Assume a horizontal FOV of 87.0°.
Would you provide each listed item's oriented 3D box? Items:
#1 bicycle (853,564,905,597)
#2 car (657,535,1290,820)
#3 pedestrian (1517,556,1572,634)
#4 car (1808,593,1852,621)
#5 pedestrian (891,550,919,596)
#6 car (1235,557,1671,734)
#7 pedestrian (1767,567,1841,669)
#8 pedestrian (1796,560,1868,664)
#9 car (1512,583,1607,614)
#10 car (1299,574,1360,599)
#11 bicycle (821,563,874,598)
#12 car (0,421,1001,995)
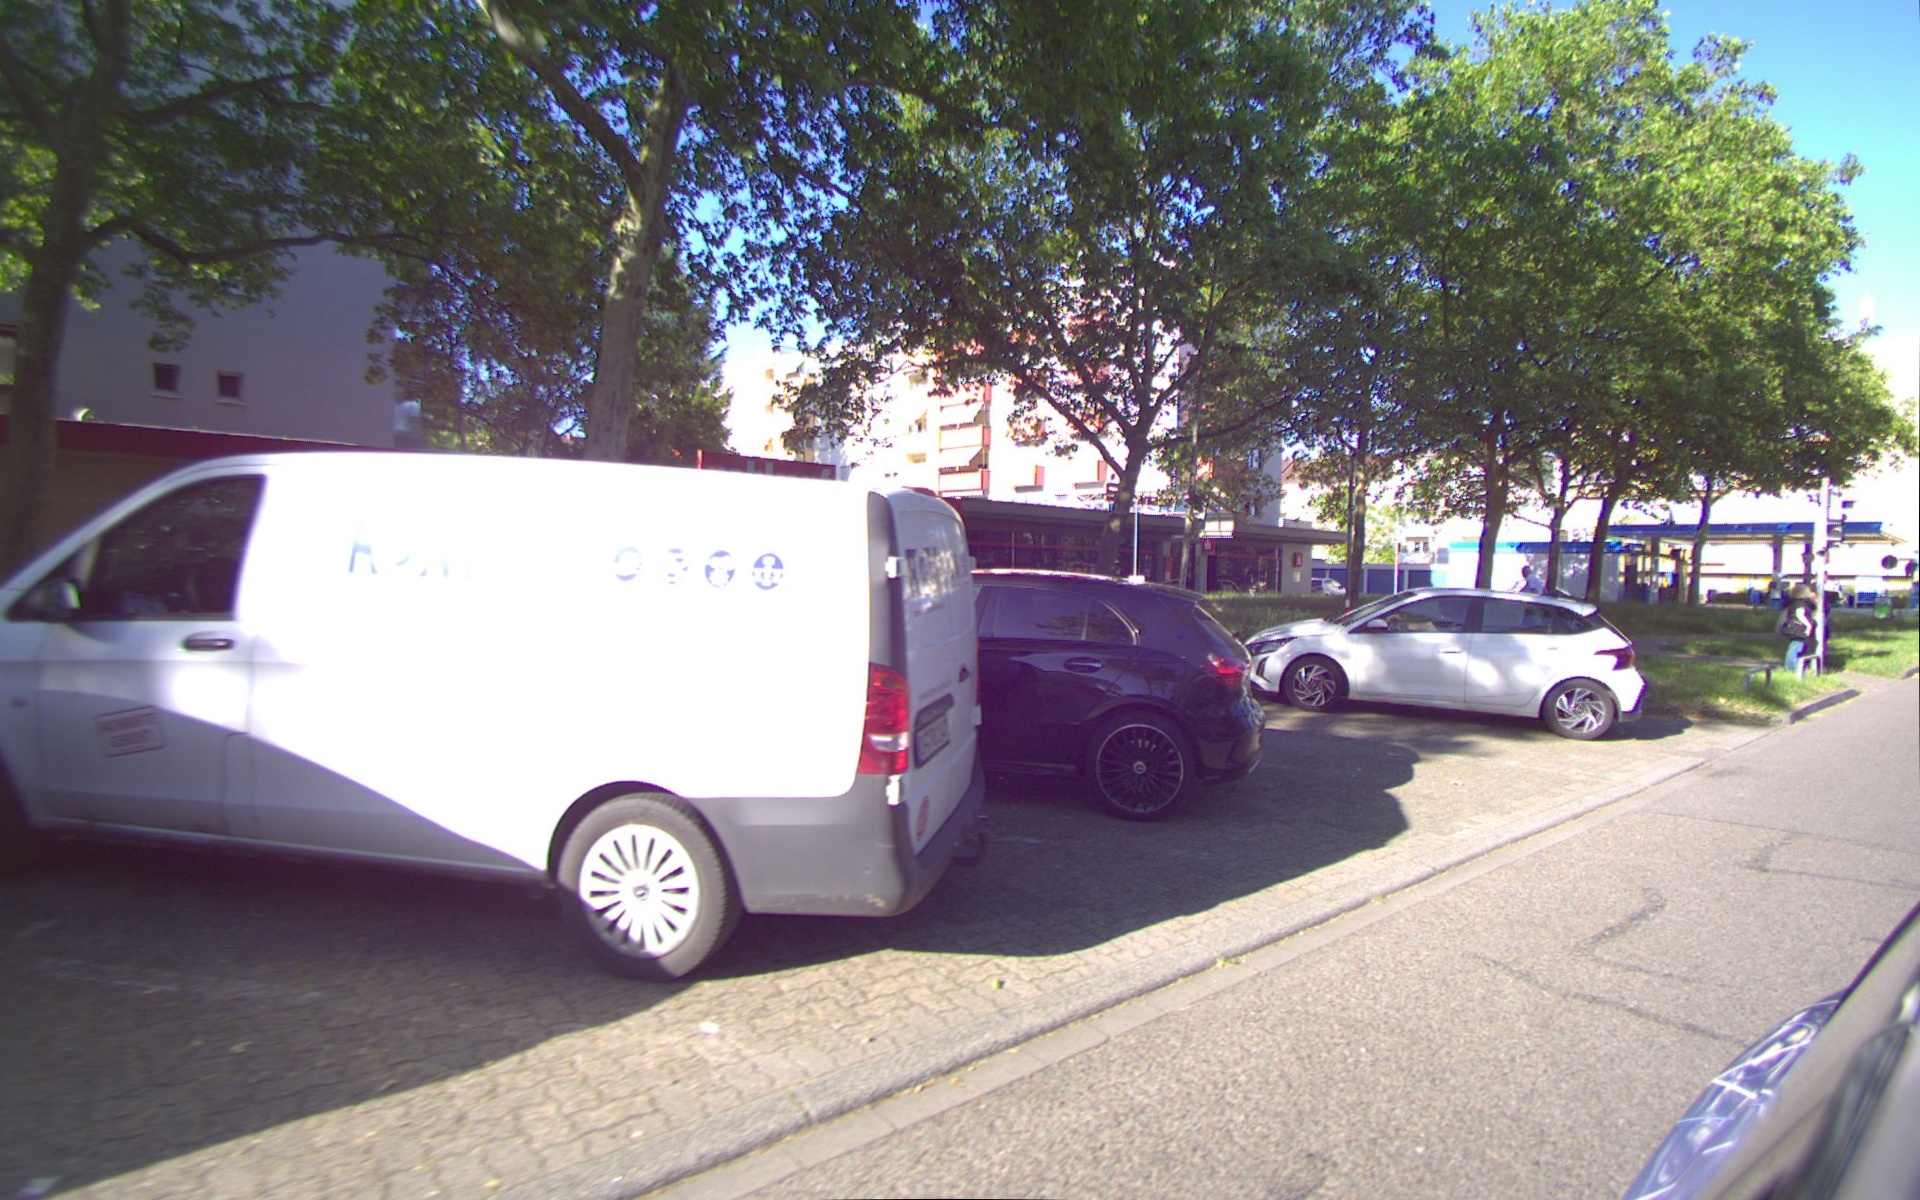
[{"bbox_3d":[-2.960,-0.703,36.976,1.812,1.194,0.600,0,1,-18],"label":"bicycle"},{"bbox_3d":[0.120,0.382,7.122,3.939,1.447,1.793,4,3,13],"label":"car"},{"bbox_3d":[13.405,-0.134,23.203,0.816,1.743,0.843,0,2,-43],"label":"pedestrian"},{"bbox_3d":[50.934,0.382,59.226,1.721,1.481,3.942,3,3,44],"label":"car"},{"bbox_3d":[-1.946,-0.945,35.863,0.671,1.604,0.704,3,1,45],"label":"pedestrian"},{"bbox_3d":[5.167,0.380,11.173,3.948,1.487,1.750,4,3,19],"label":"car"},{"bbox_3d":[14.920,0.300,17.903,0.702,1.726,0.651,3,3,16],"label":"pedestrian"},{"bbox_3d":[16.383,0.206,19.021,0.911,1.908,0.800,0,1,-36],"label":"pedestrian"},{"bbox_3d":[33.566,-0.122,56.742,1.949,1.550,4.198,0,2,-41],"label":"car"},{"bbox_3d":[23.051,-0.855,63.068,4.043,1.522,1.873,-1,2,-42],"label":"car"},{"bbox_3d":[-3.983,-0.689,35.856,1.812,1.194,0.600,0,1,-12],"label":"bicycle"},{"bbox_3d":[-2.233,0.247,4.662,4.596,1.875,1.826,2,2,11],"label":"car"}]
